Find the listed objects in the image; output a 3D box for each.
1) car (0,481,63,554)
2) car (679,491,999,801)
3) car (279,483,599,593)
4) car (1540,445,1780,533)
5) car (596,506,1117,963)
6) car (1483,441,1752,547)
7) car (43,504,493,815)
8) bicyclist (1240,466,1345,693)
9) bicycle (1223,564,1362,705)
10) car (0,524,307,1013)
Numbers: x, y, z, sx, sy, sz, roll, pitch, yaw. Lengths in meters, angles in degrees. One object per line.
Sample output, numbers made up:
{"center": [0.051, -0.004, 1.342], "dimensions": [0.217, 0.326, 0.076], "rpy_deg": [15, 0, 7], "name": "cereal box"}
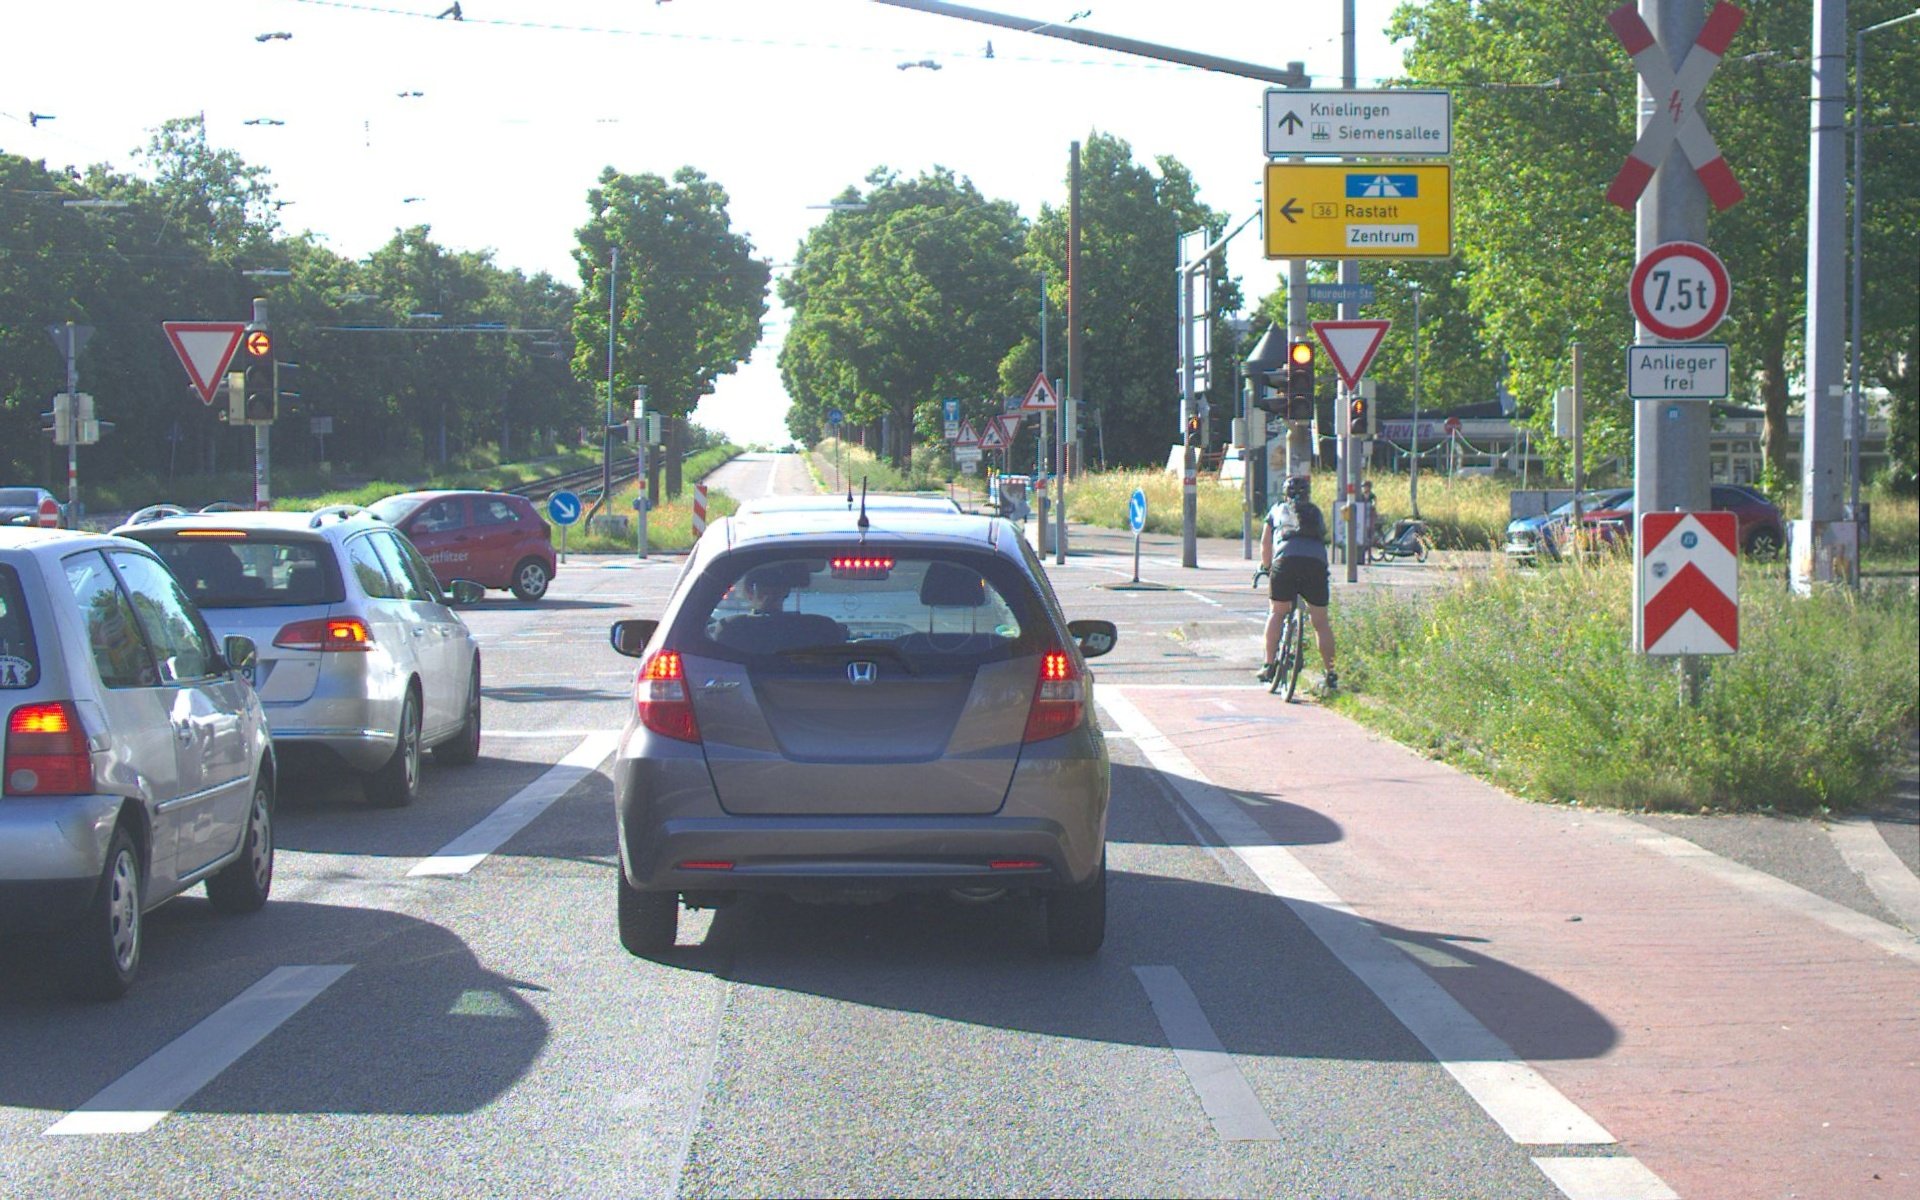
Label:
{"center": [-22.081, -1.934, 79.625], "dimensions": [1.993, 1.599, 4.757], "rpy_deg": [1, 2, -8], "name": "car"}
{"center": [-0.646, 0.173, 19.453], "dimensions": [1.611, 1.557, 4.288], "rpy_deg": [0, 2, -1], "name": "car"}
{"center": [-6.918, -0.857, 45.881], "dimensions": [4.006, 1.398, 1.608], "rpy_deg": [-2, 2, -43], "name": "car"}
{"center": [12.530, -1.998, 61.513], "dimensions": [3.986, 1.525, 1.606], "rpy_deg": [-1, 2, -23], "name": "car"}
{"center": [-0.415, 0.385, 12.819], "dimensions": [1.668, 1.457, 3.587], "rpy_deg": [0, 2, -3], "name": "car"}
{"center": [12.556, -2.015, 65.692], "dimensions": [4.686, 1.873, 2.001], "rpy_deg": [1, 1, -23], "name": "car"}
{"center": [-3.545, 0.239, 18.272], "dimensions": [1.619, 1.452, 4.085], "rpy_deg": [1, 1, -1], "name": "car"}
{"center": [2.567, -0.163, 26.607], "dimensions": [0.666, 1.710, 0.948], "rpy_deg": [1, 1, -1], "name": "bicyclist"}
{"center": [2.556, 0.239, 26.696], "dimensions": [0.722, 0.985, 2.876], "rpy_deg": [1, 1, -1], "name": "bicycle"}
{"center": [-3.316, 0.460, 11.619], "dimensions": [1.619, 1.413, 3.351], "rpy_deg": [-1, 1, -1], "name": "car"}
